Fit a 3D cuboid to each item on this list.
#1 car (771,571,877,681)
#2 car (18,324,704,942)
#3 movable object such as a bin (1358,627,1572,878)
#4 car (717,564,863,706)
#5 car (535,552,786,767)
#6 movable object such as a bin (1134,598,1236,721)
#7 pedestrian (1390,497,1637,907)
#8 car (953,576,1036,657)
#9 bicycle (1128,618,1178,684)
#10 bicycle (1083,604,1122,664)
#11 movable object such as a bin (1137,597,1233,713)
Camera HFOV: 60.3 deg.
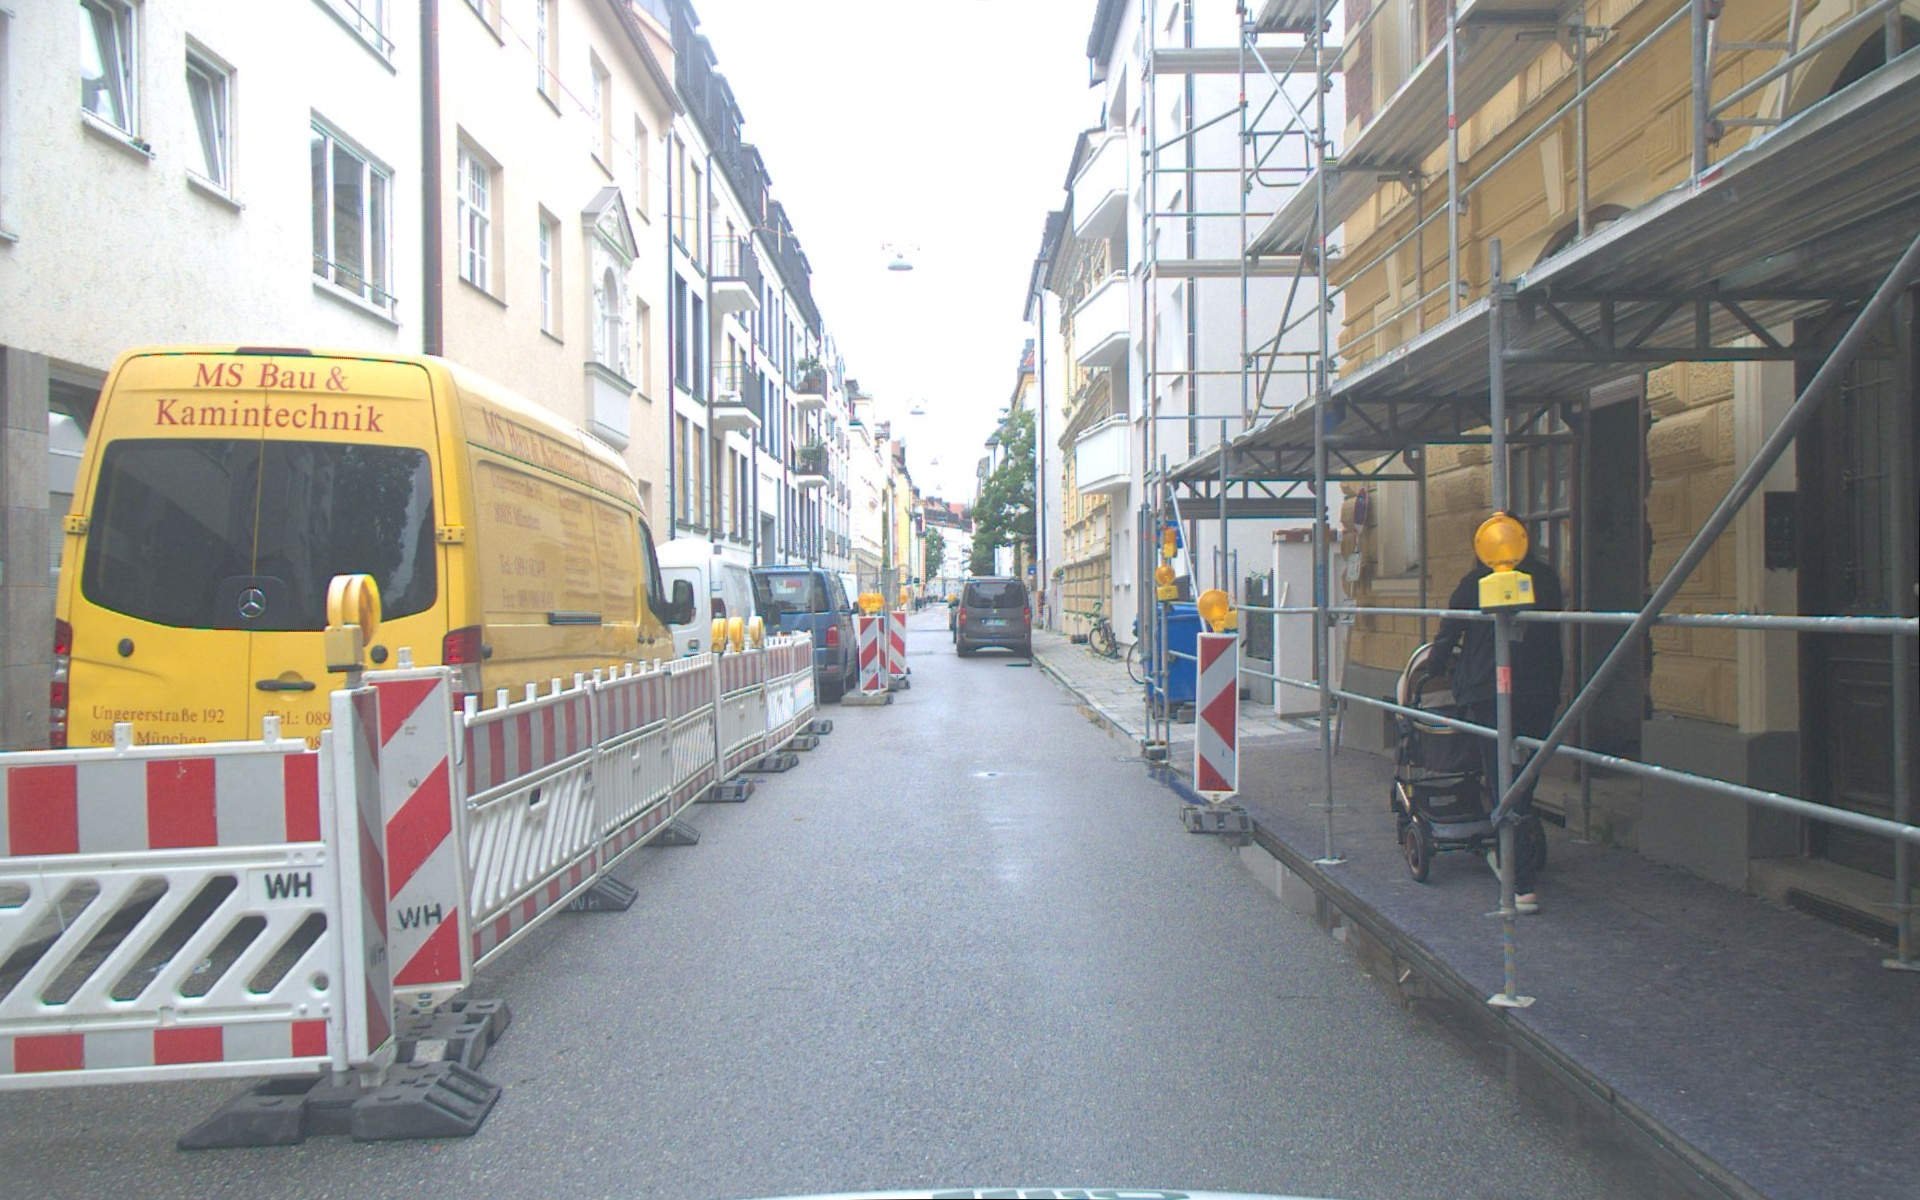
[{"bbox_3d":[-2.583,0.473,32.148,1.867,1.930,5.085,-1,0,-3],"label":"car"},{"bbox_3d":[-3.105,0.135,10.511,1.953,2.624,6.735,-1,0,-1],"label":"car"},{"bbox_3d":[2.619,0.763,8.685,0.715,1.160,0.988,-5,0,-1],"label":"movable object such as a bin"},{"bbox_3d":[-2.566,0.502,26.142,1.692,1.930,5.508,-2,0,0],"label":"car"},{"bbox_3d":[-3.043,0.558,17.832,1.878,1.930,4.789,-2,0,-2],"label":"car"},{"bbox_3d":[2.757,0.710,20.157,1.063,1.369,1.318,-4,0,12],"label":"movable object such as a bin"},{"bbox_3d":[2.609,0.456,7.903,0.715,1.783,0.988,-4,0,-1],"label":"pedestrian"},{"bbox_3d":[0.824,0.390,42.551,1.953,1.966,4.659,1,0,-1],"label":"car"},{"bbox_3d":[3.109,0.810,26.673,0.396,1.009,1.326,-4,0,-9],"label":"bicycle"},{"bbox_3d":[3.068,0.716,35.674,0.625,1.173,1.915,-3,1,0],"label":"bicycle"},{"bbox_3d":[2.909,0.691,21.396,1.102,1.369,1.172,-4,0,8],"label":"movable object such as a bin"}]
